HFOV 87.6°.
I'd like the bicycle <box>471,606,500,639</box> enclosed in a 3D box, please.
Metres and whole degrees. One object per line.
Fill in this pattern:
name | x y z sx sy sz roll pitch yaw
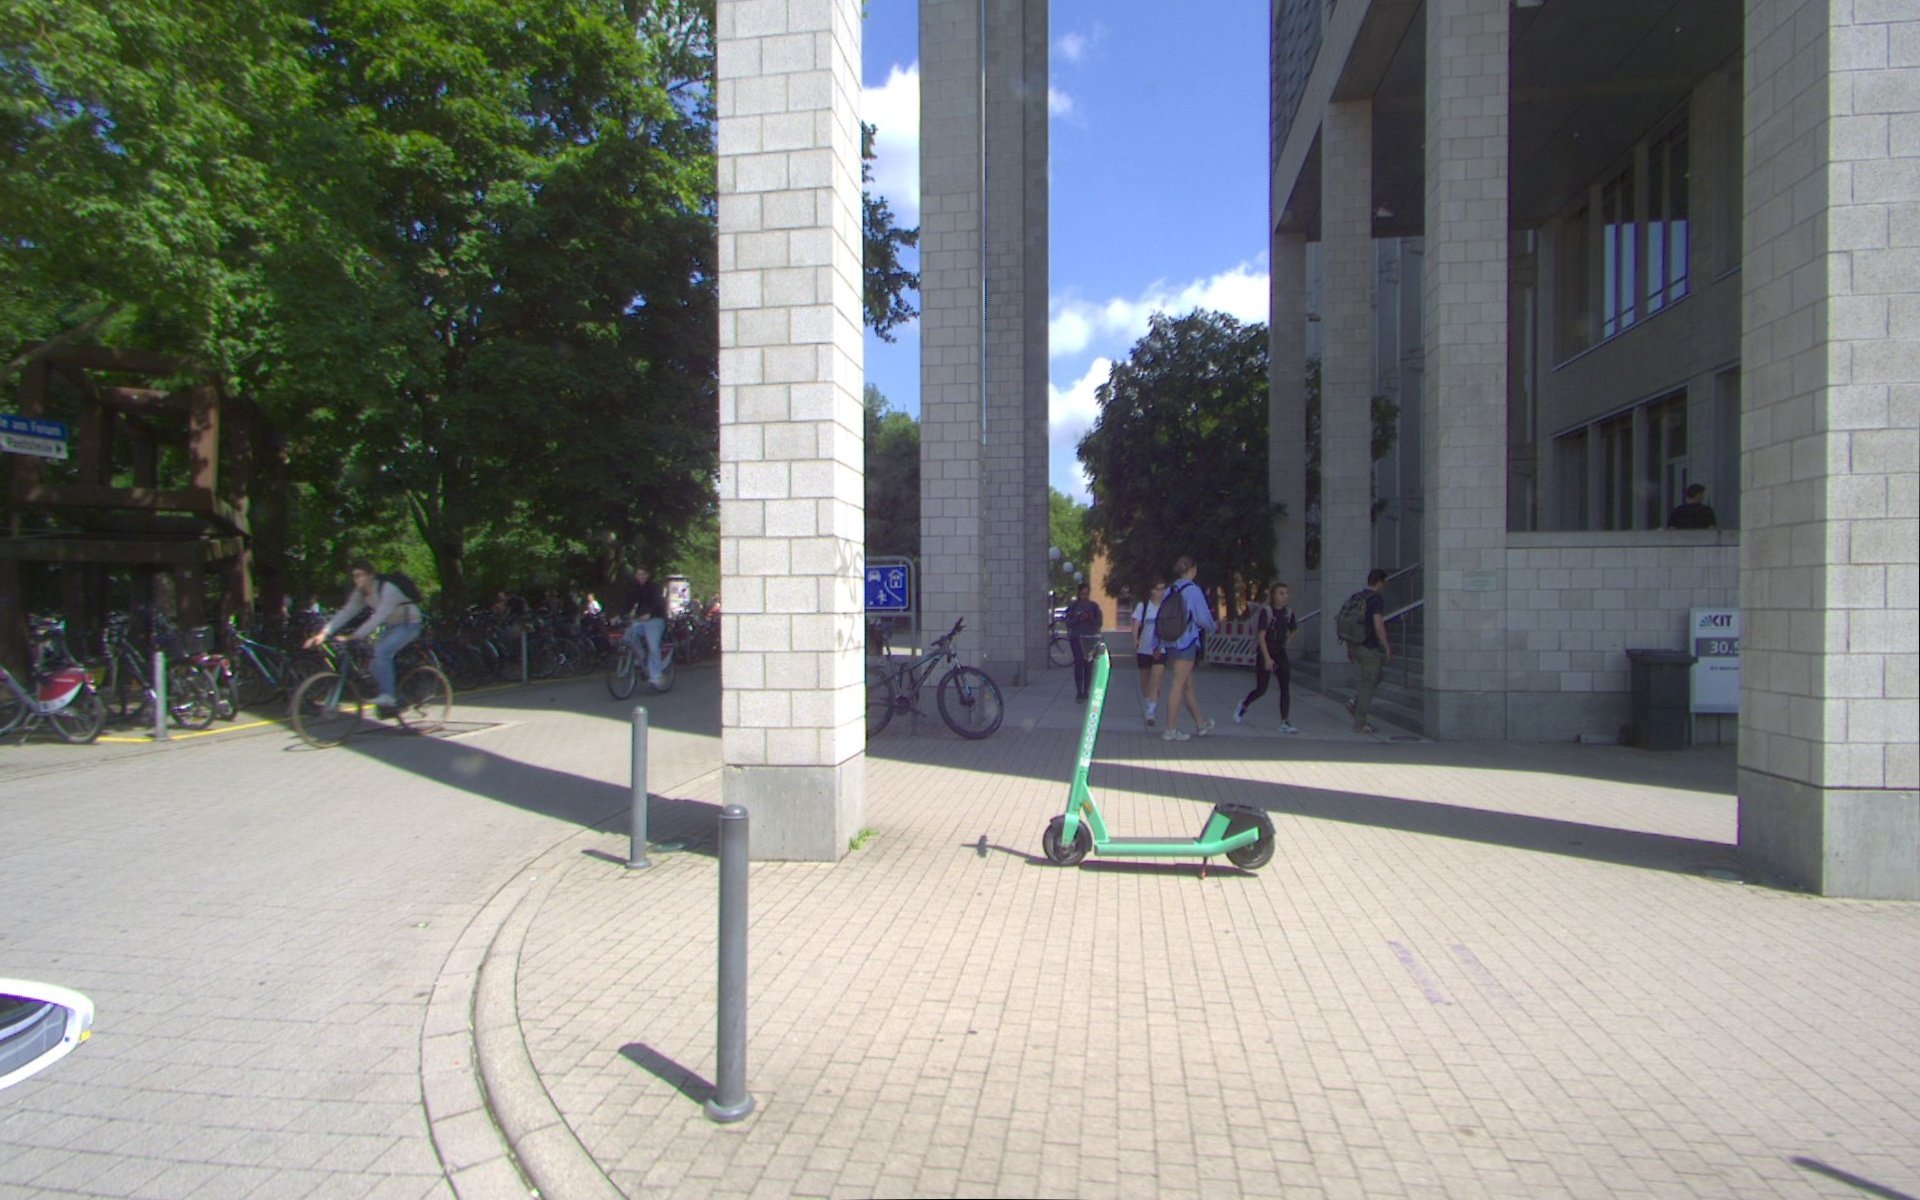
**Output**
bicycle | -16.942 0.787 35.730 0.511 1.125 1.763 1 0 -39

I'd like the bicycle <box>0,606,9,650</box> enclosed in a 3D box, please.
bicycle | -24.036 0.696 24.675 0.467 1.098 1.691 1 0 -29

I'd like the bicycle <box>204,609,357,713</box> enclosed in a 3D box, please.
bicycle | -7.768 0.679 11.455 1.599 1.122 0.496 1 0 14

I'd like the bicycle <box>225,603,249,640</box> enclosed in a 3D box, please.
bicycle | -22.676 0.669 31.411 0.511 1.125 1.763 1 0 -39

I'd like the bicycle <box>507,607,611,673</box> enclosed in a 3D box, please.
bicycle | -7.231 0.699 18.069 1.696 1.122 0.718 1 0 20

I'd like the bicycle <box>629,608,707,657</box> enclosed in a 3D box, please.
bicycle | -6.842 0.761 23.526 1.709 1.122 0.496 1 0 -15

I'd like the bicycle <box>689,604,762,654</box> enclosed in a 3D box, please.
bicycle | -5.961 0.735 25.513 1.707 1.252 0.497 1 0 2

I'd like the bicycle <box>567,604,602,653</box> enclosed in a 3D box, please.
bicycle | -9.738 0.729 25.923 0.568 1.215 1.690 1 0 -30

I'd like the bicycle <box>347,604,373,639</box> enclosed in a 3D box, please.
bicycle | -20.126 0.719 33.585 0.511 1.125 1.763 1 0 -39

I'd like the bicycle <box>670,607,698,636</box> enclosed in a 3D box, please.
bicycle | -11.153 0.868 40.474 0.468 1.125 1.764 1 0 -37

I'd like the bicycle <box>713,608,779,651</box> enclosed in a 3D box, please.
bicycle | -5.752 0.789 26.960 1.666 1.122 0.474 1 0 -2

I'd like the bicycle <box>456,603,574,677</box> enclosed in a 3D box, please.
bicycle | -7.378 0.656 16.618 1.750 1.177 0.497 1 0 4

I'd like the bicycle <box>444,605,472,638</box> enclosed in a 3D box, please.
bicycle | -17.644 0.743 35.184 0.511 1.125 1.763 1 0 -39

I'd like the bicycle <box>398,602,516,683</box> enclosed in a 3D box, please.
bicycle | -7.647 0.635 15.241 1.598 1.166 0.497 1 0 10

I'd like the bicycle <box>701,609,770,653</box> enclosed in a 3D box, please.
bicycle | -5.822 0.801 25.976 1.666 1.122 0.497 1 0 -1

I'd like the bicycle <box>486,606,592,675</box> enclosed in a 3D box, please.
bicycle | -7.179 0.686 17.088 1.598 1.122 0.497 1 0 4

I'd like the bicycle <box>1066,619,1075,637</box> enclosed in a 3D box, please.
bicycle | 5.878 1.474 53.393 0.389 0.948 1.731 -1 -1 9

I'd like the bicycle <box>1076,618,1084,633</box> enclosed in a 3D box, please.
bicycle | 7.747 1.641 64.547 0.443 0.974 1.740 -2 -1 9

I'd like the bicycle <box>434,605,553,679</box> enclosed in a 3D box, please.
bicycle | -7.430 0.654 15.984 1.598 1.122 0.645 1 0 4

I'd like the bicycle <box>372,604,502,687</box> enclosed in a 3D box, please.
bicycle | -7.523 0.639 14.426 1.599 1.122 0.690 1 0 14

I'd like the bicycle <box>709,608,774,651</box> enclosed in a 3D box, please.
bicycle | -5.957 0.808 27.372 1.666 1.122 0.474 1 0 -2

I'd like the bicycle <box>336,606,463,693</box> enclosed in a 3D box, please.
bicycle | -7.674 0.662 13.721 1.599 1.122 0.496 1 0 14

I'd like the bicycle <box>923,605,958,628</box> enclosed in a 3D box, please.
bicycle | -1.015 0.870 52.453 1.809 1.125 0.474 1 0 7

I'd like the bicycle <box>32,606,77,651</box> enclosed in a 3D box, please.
bicycle | -22.868 0.707 25.303 0.467 1.098 1.691 1 0 -29

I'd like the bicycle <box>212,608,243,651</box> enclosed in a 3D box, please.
bicycle | -19.623 0.782 26.854 0.467 1.098 1.691 1 0 -29

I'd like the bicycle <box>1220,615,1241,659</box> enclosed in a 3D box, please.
bicycle | 7.306 0.976 27.077 0.286 1.143 1.448 0 0 6

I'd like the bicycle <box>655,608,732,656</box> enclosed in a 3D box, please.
bicycle | -6.465 0.784 24.329 1.707 1.122 0.497 1 0 -3

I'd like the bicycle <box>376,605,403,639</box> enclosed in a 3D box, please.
bicycle | -19.518 0.736 34.256 0.511 1.125 1.763 1 0 -39

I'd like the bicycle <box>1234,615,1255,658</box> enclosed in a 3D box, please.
bicycle | 7.694 0.978 27.065 0.286 1.108 1.448 0 0 6

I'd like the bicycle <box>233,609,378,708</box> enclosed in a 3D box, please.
bicycle | -7.875 0.683 12.051 1.599 1.122 0.496 1 0 14

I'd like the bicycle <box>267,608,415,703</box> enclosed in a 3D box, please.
bicycle | -7.789 0.675 12.608 1.599 1.122 0.629 1 0 14

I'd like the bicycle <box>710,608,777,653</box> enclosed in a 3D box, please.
bicycle | -5.724 0.798 26.491 1.666 1.160 0.474 1 0 -2

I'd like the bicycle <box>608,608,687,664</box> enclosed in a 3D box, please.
bicycle | -6.664 0.750 21.324 1.713 1.122 0.572 1 0 29

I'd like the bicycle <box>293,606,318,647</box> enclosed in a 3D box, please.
bicycle | -18.163 0.736 27.803 0.467 1.098 1.691 1 0 -29

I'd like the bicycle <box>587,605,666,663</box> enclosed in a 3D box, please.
bicycle | -6.900 0.693 20.701 1.602 1.159 0.496 1 0 23

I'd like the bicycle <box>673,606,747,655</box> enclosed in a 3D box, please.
bicycle | -6.238 0.754 24.991 1.707 1.194 0.497 1 0 9

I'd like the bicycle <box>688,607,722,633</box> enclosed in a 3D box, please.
bicycle | -11.223 0.873 43.970 1.755 1.125 0.471 1 0 39

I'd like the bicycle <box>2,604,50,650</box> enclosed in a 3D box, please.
bicycle | -23.281 0.659 24.987 0.467 1.098 1.691 1 0 -29

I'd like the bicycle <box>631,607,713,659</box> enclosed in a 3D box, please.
bicycle | -6.552 0.754 22.818 1.707 1.141 0.497 1 0 5

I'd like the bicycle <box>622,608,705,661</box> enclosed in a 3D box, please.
bicycle | -6.562 0.754 22.191 1.707 1.122 0.497 1 0 9

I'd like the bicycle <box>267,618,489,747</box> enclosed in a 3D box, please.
bicycle | -5.675 0.752 9.880 0.631 1.123 1.810 2 1 32

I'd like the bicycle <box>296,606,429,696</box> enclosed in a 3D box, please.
bicycle | -7.870 0.660 13.198 1.599 1.122 0.505 1 0 14

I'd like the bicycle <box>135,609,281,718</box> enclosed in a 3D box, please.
bicycle | -8.309 0.676 11.062 1.601 1.123 0.495 1 2 21

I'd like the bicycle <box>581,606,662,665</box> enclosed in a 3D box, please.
bicycle | -6.794 0.698 20.064 1.602 1.122 0.496 1 0 23

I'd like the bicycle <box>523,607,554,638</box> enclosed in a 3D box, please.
bicycle | -15.643 0.819 37.122 0.512 1.125 1.761 1 0 -42

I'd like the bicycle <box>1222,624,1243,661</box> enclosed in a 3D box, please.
bicycle | 6.967 1.072 25.618 0.286 0.917 1.448 0 0 6

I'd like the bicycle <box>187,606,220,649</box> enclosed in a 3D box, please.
bicycle | -20.079 0.715 26.603 0.467 1.098 1.691 1 0 -29

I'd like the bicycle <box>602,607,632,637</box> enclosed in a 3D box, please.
bicycle | -13.442 0.865 39.242 0.469 1.125 1.761 1 0 -42

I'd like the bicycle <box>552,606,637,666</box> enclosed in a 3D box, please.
bicycle | -7.144 0.696 19.579 1.602 1.122 0.561 1 0 23
